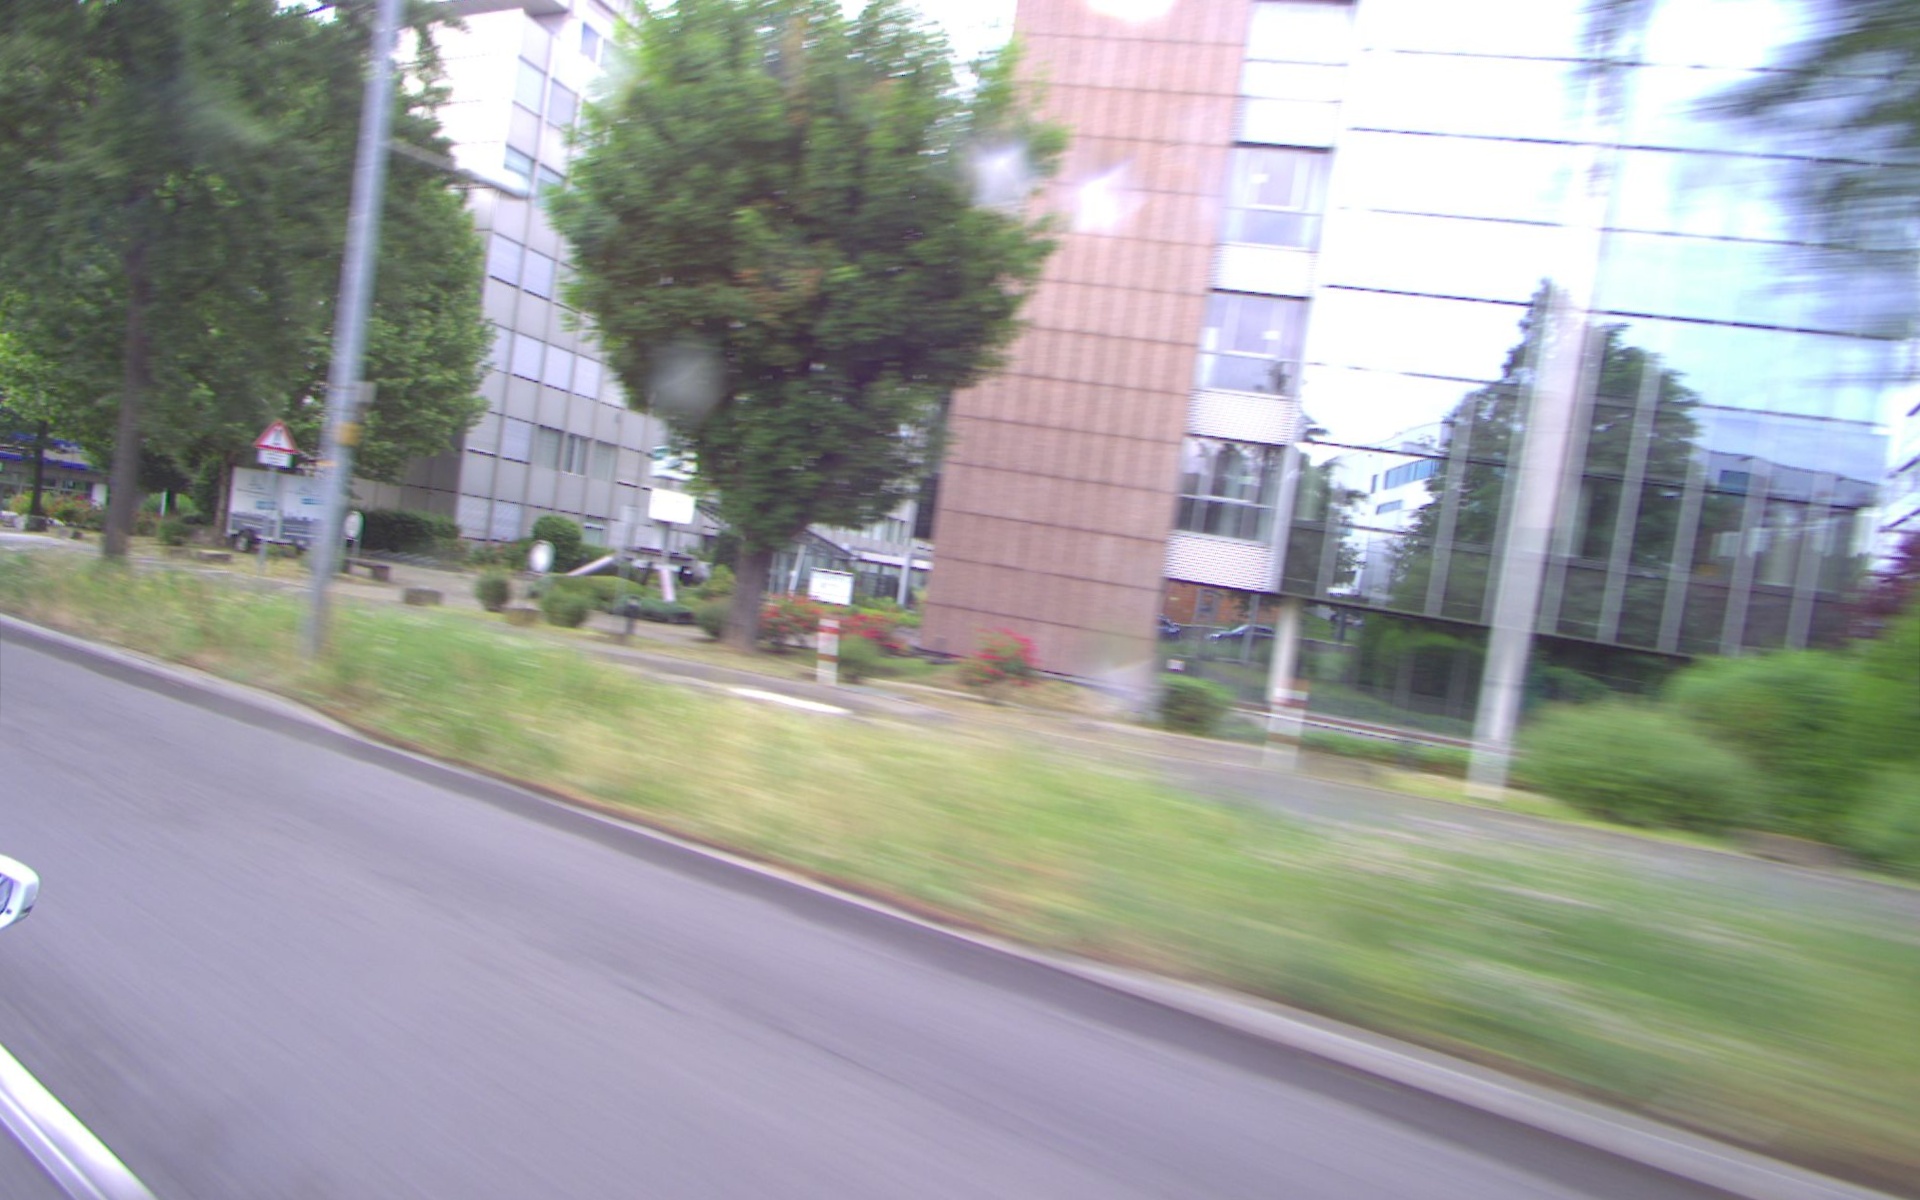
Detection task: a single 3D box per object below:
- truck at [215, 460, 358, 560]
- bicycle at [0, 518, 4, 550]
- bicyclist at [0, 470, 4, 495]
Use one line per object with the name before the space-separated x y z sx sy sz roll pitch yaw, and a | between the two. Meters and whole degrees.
truck | -20.511 -2.743 30.624 3.931 2.547 1.751 7 -1 28
bicycle | -24.639 -1.743 24.993 2.280 0.818 0.668 6 -2 31
bicyclist | -24.467 -2.663 24.961 1.199 1.303 0.656 7 -2 31
